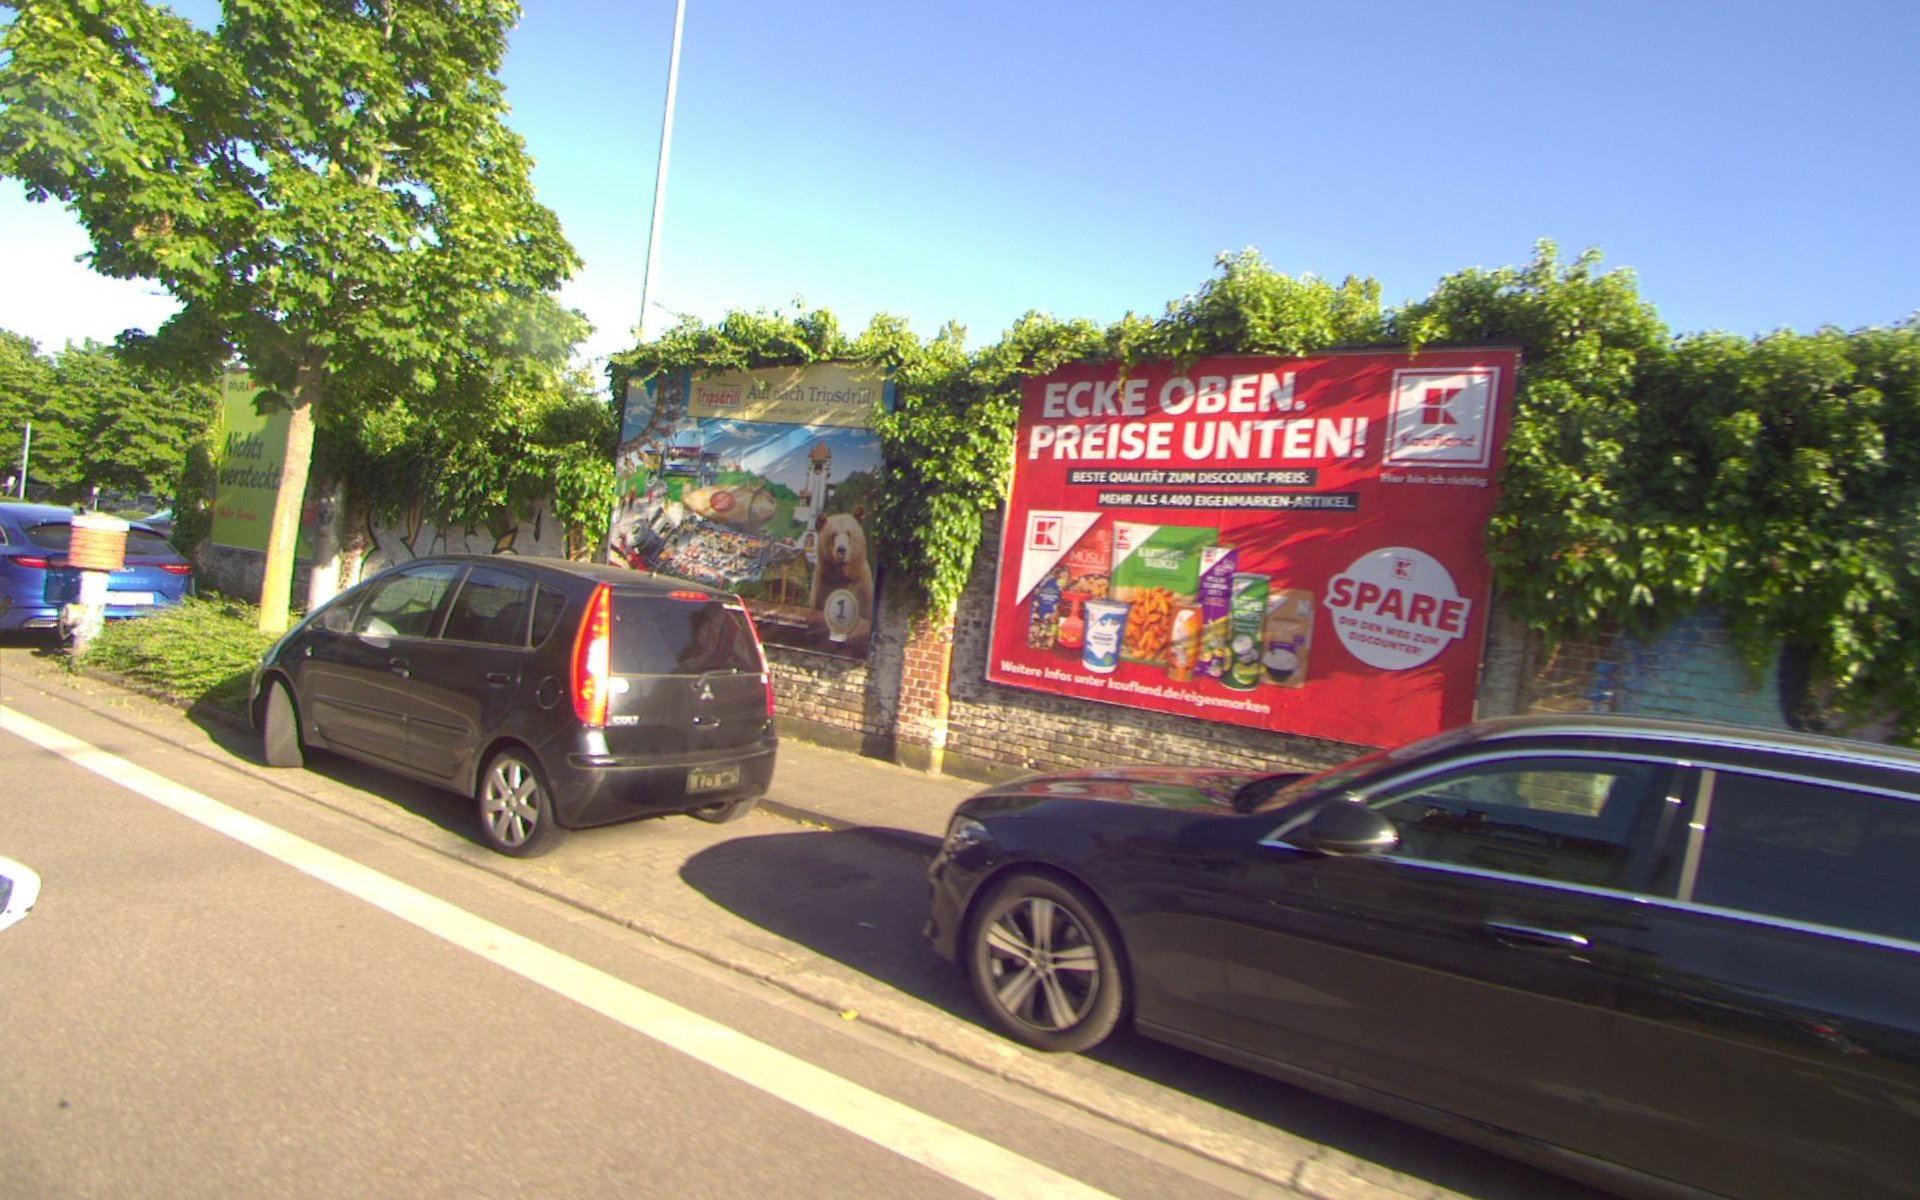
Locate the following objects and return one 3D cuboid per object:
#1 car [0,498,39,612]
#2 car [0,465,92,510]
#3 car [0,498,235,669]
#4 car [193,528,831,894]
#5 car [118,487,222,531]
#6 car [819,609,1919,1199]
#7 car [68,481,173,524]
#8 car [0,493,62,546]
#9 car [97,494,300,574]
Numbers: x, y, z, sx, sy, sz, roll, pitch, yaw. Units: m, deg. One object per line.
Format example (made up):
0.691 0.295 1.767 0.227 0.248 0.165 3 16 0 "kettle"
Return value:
-14.897 -0.872 13.925 4.421 1.481 1.732 7 -2 29 "car"
-61.471 -7.534 67.522 2.103 2.269 4.201 7 0 19 "car"
-10.034 -0.299 10.927 4.266 1.481 1.732 7 -2 29 "car"
-2.941 0.499 6.488 3.750 1.512 1.826 7 2 30 "car"
-49.760 -5.703 63.476 1.926 1.837 4.699 7 -2 23 "car"
1.910 1.052 3.577 4.565 1.470 1.826 7 0 32 "car"
-53.868 -6.240 64.652 1.926 1.837 4.699 7 -2 23 "car"
-23.023 -2.022 24.119 3.005 1.045 1.312 7 -2 30 "car"
-19.516 -1.658 25.943 1.729 1.416 3.711 7 -2 30 "car"
